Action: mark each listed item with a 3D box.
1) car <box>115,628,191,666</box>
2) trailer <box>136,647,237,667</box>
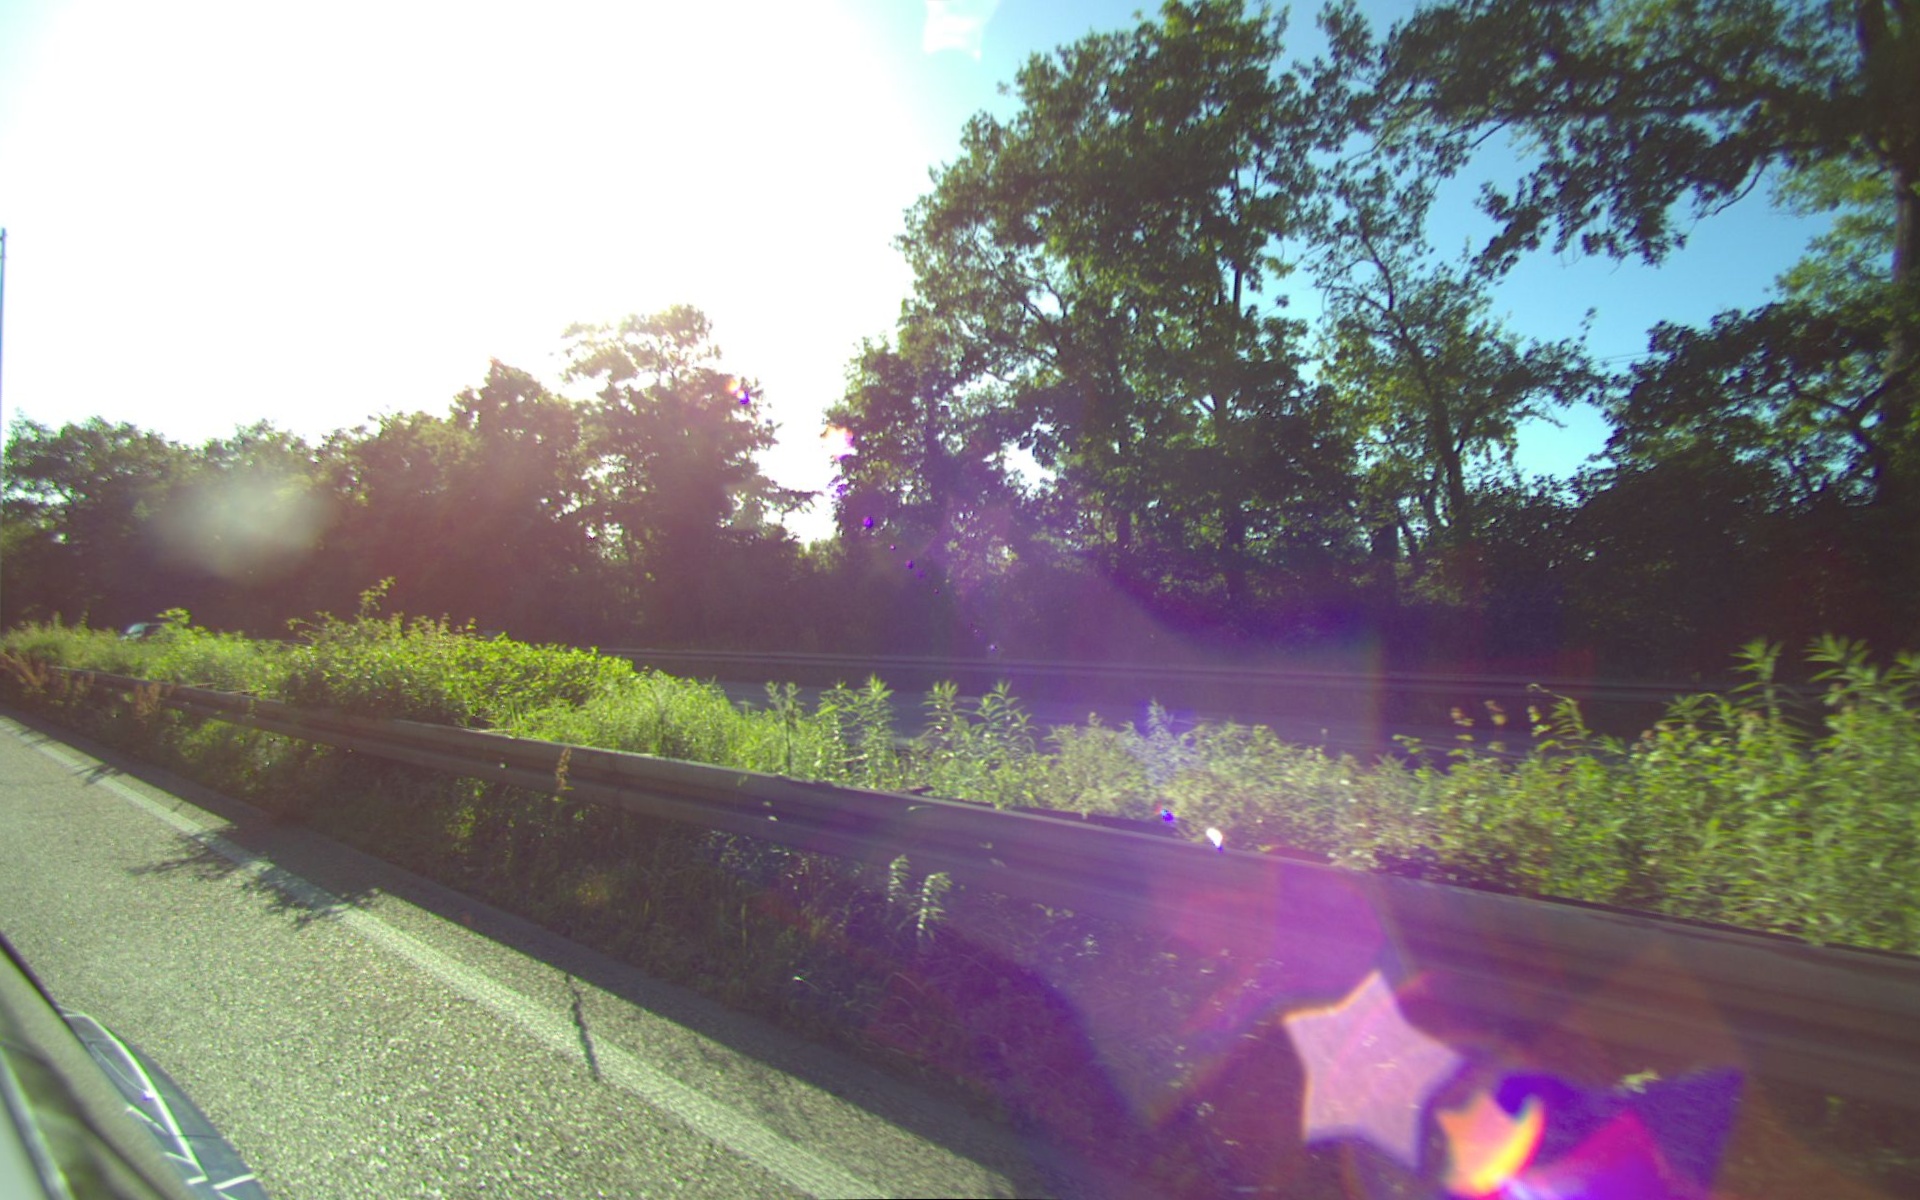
[{"bbox_3d":[-39.729,2.290,49.772,4.739,1.737,1.941,-2,-1,39],"label":"car"},{"bbox_3d":[-35.310,2.559,46.107,6.324,0.746,2.236,-2,-2,39],"label":"trailer"}]
